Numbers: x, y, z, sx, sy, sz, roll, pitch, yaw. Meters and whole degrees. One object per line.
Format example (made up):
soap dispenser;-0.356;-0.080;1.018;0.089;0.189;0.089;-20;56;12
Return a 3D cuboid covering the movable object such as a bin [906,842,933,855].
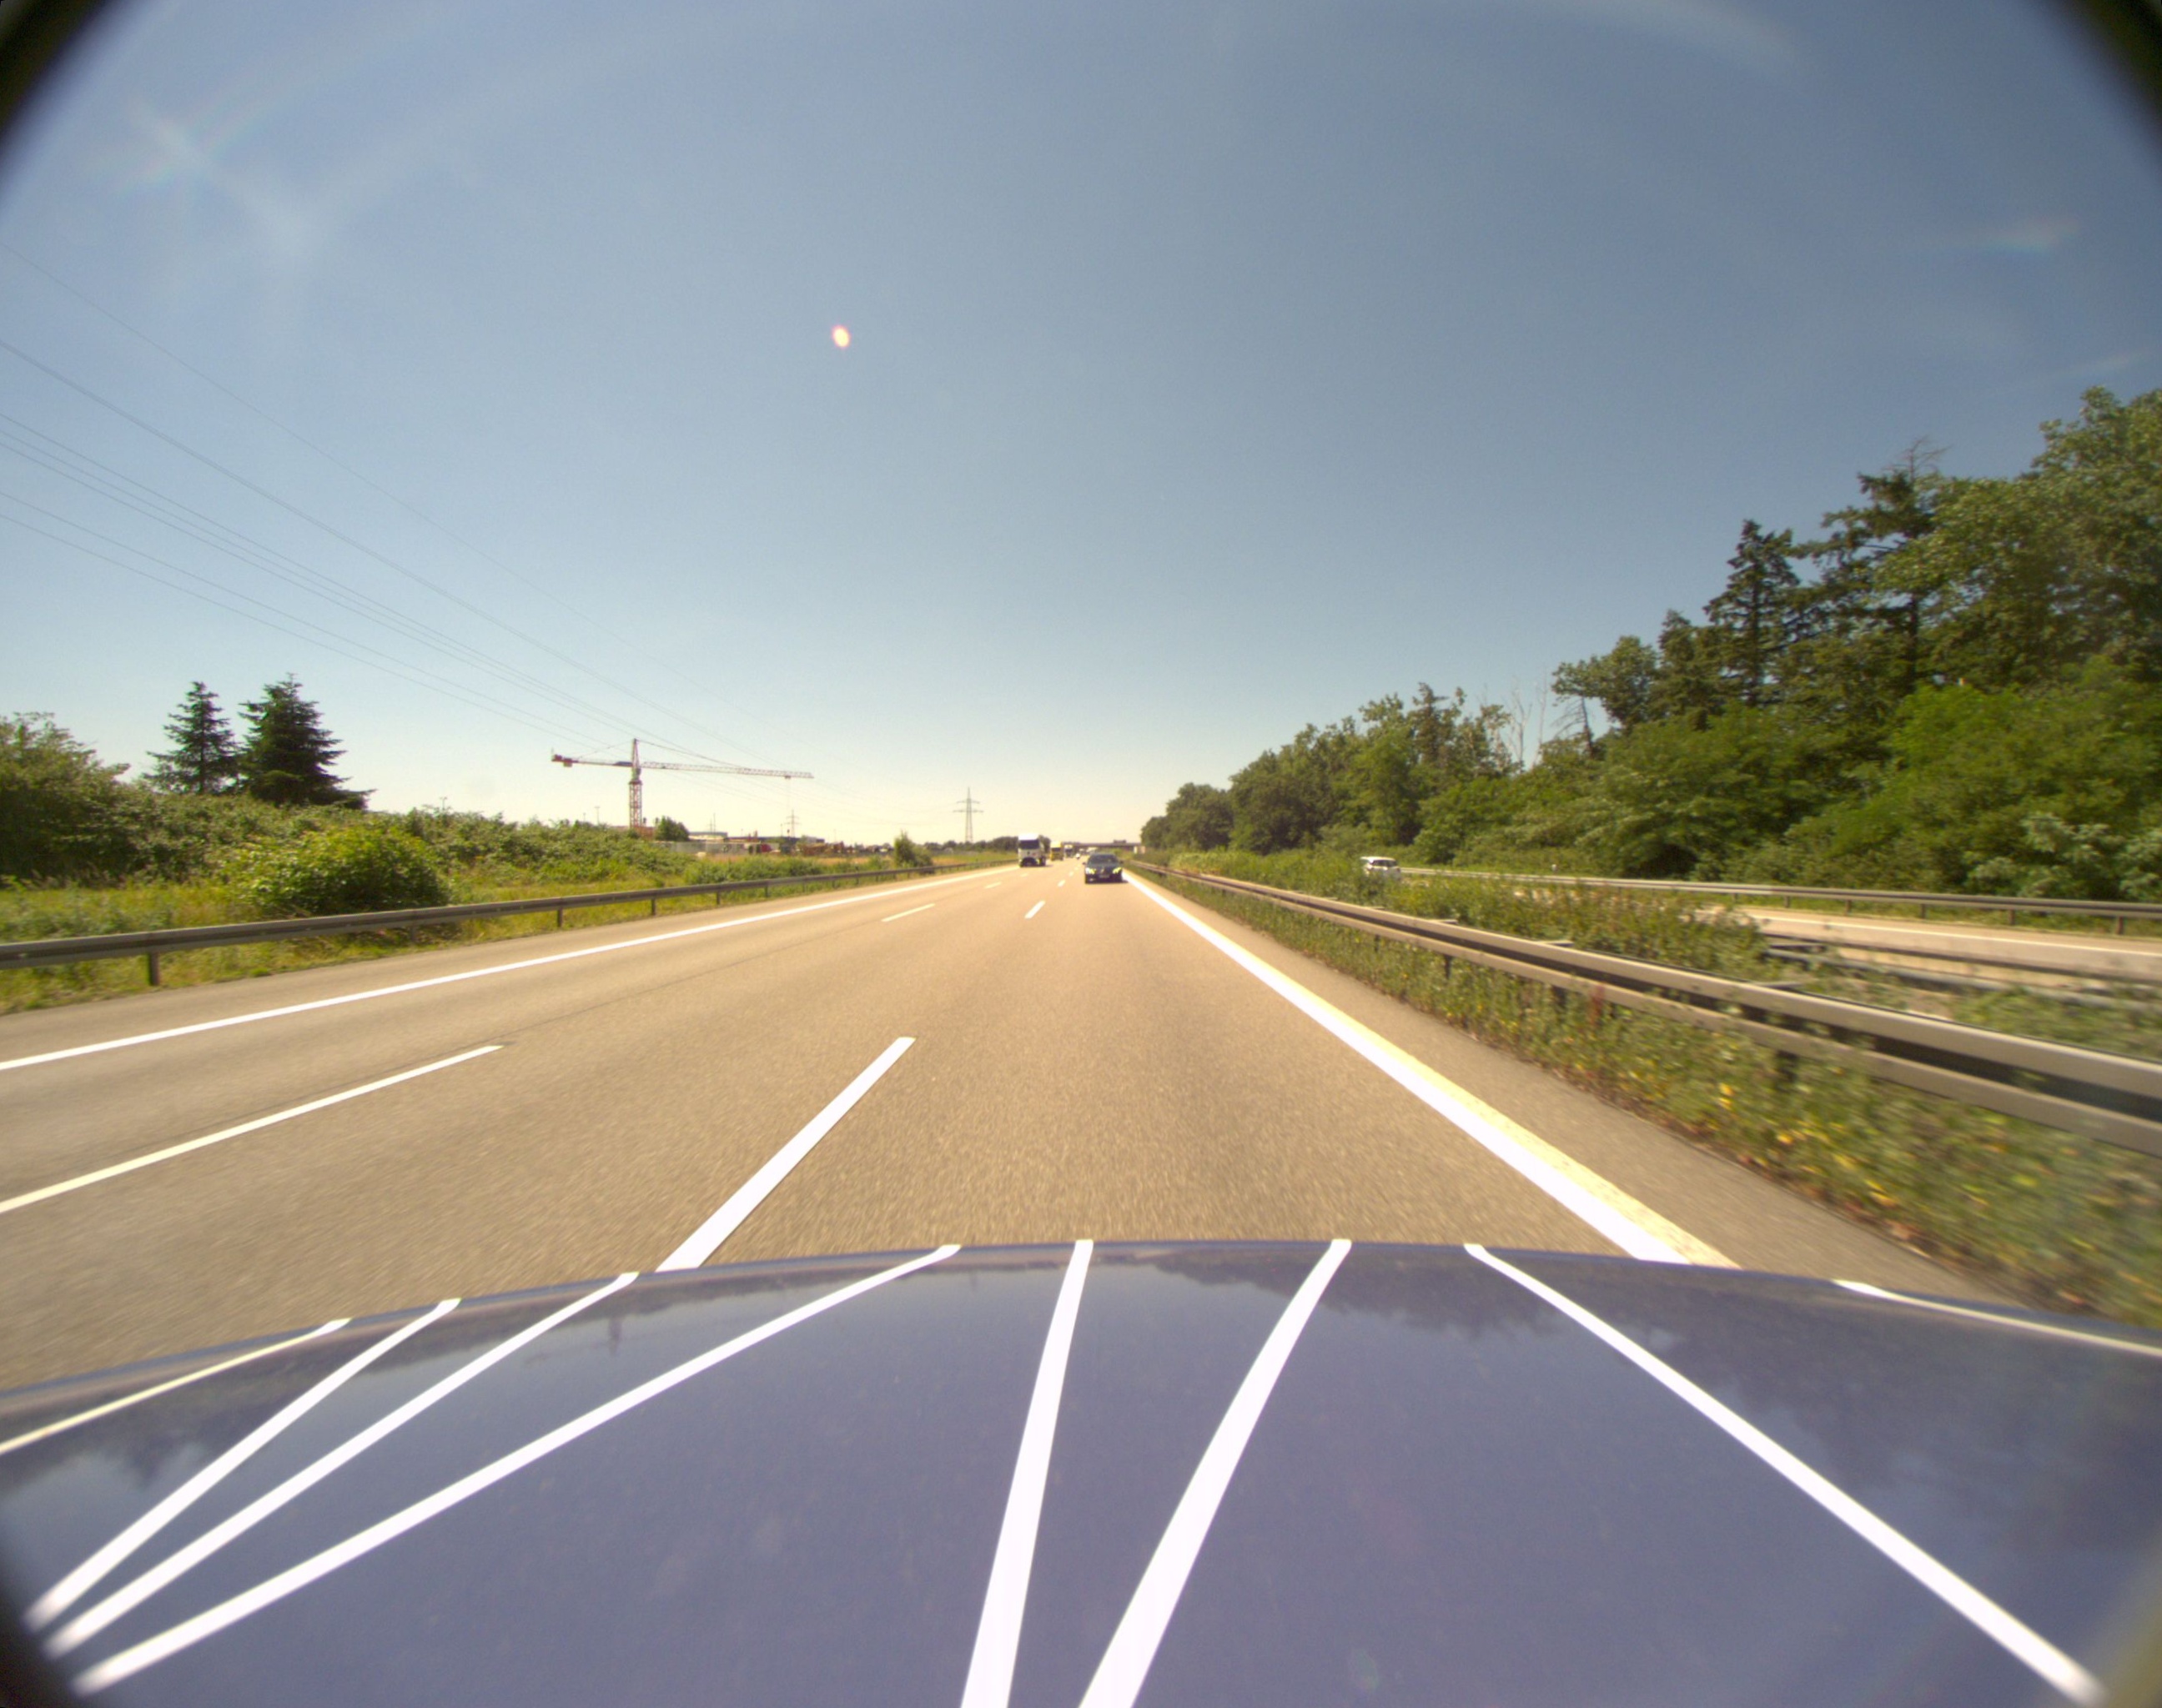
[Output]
movable object such as a bin;-53.171;-1.720;250.949;8.113;3.883;2.881;-2;1;2

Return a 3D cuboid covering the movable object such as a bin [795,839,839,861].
movable object such as a bin;-54.933;-0.903;158.233;8.113;4.272;2.881;-2;1;2

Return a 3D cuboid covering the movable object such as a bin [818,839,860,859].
movable object such as a bin;-54.223;-1.102;170.464;8.113;4.272;3.299;-2;1;2

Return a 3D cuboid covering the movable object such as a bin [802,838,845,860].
movable object such as a bin;-54.798;-0.997;161.772;8.113;4.272;2.881;-2;1;2

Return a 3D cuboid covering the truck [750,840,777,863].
truck;-68.993;-0.603;165.358;3.052;4.745;5.982;-2;1;1

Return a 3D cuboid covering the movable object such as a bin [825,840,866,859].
movable object such as a bin;-53.997;-0.973;174.495;8.113;3.928;3.137;-2;1;2

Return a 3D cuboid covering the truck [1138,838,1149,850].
truck;20.549;-3.342;251.106;2.933;3.805;9.274;0;1;1

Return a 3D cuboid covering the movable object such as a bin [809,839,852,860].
movable object such as a bin;-54.712;-1.043;166.345;8.113;4.272;3.351;-2;1;2

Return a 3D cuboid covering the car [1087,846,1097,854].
car;2.226;-0.785;154.930;1.861;1.696;3.999;0;1;0

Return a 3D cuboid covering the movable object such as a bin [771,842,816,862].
movable object such as a bin;-55.846;-0.443;147.610;7.583;3.443;2.881;-2;1;2

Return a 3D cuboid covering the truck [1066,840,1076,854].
truck;-3.128;-2.249;247.138;2.978;4.240;12.610;0;1;0

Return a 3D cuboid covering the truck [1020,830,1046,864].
truck;-5.770;-0.797;91.398;2.573;3.871;5.722;-2;1;0

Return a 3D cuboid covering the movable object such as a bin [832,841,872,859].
movable object such as a bin;-53.719;-1.019;178.240;8.113;3.928;3.137;-2;1;2

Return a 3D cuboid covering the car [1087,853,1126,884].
car;1.239;0.673;38.159;1.808;1.385;3.999;-2;1;0

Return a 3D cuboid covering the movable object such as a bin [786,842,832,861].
movable object such as a bin;-54.207;-0.548;151.600;8.113;3.443;2.881;-2;1;2

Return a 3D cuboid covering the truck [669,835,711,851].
truck;-89.659;-2.490;174.446;8.178;3.392;2.833;0;1;-15

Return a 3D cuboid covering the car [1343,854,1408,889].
car;14.091;0.802;36.568;1.644;1.474;3.744;2;1;1

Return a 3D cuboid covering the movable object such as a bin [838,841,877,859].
movable object such as a bin;-53.590;-1.060;182.086;8.113;3.928;3.137;-2;1;2

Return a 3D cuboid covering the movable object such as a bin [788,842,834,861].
movable object such as a bin;-55.072;-0.543;155.002;8.113;3.443;2.881;-2;1;2

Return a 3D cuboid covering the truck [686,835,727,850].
truck;-87.865;-2.602;178.504;8.178;3.392;2.833;0;1;-15

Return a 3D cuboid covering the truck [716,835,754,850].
truck;-84.959;-2.798;186.633;8.175;3.392;2.834;0;1;-11

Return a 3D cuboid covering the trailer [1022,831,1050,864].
trailer;-5.705;-0.860;97.947;2.573;3.871;13.278;-2;1;0

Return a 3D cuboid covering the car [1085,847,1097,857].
car;1.647;-0.330;121.232;1.861;1.696;3.999;0;1;0

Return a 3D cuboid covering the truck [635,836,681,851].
truck;-92.774;-2.289;166.767;8.178;3.392;2.833;0;1;-15

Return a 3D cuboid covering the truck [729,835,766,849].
truck;-83.558;-2.891;190.387;8.176;3.392;2.833;0;1;-12

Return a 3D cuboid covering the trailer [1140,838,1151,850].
trailer;20.452;-3.252;241.827;2.933;3.805;9.274;0;1;1

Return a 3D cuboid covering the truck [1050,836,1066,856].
truck;-4.967;-1.699;163.304;2.978;4.240;12.610;0;1;0

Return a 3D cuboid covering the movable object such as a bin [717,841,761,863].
movable object such as a bin;-78.907;-0.395;175.516;8.826;4.623;3.295;-2;1;11

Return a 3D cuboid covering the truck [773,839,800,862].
truck;-62.879;-0.832;162.571;3.052;4.745;5.982;-2;1;1

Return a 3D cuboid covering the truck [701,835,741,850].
truck;-86.478;-2.697;182.557;8.172;3.392;2.835;0;1;-7

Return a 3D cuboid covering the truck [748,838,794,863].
truck;-63.075;-0.755;155.144;3.051;4.745;14.323;-2;1;2
